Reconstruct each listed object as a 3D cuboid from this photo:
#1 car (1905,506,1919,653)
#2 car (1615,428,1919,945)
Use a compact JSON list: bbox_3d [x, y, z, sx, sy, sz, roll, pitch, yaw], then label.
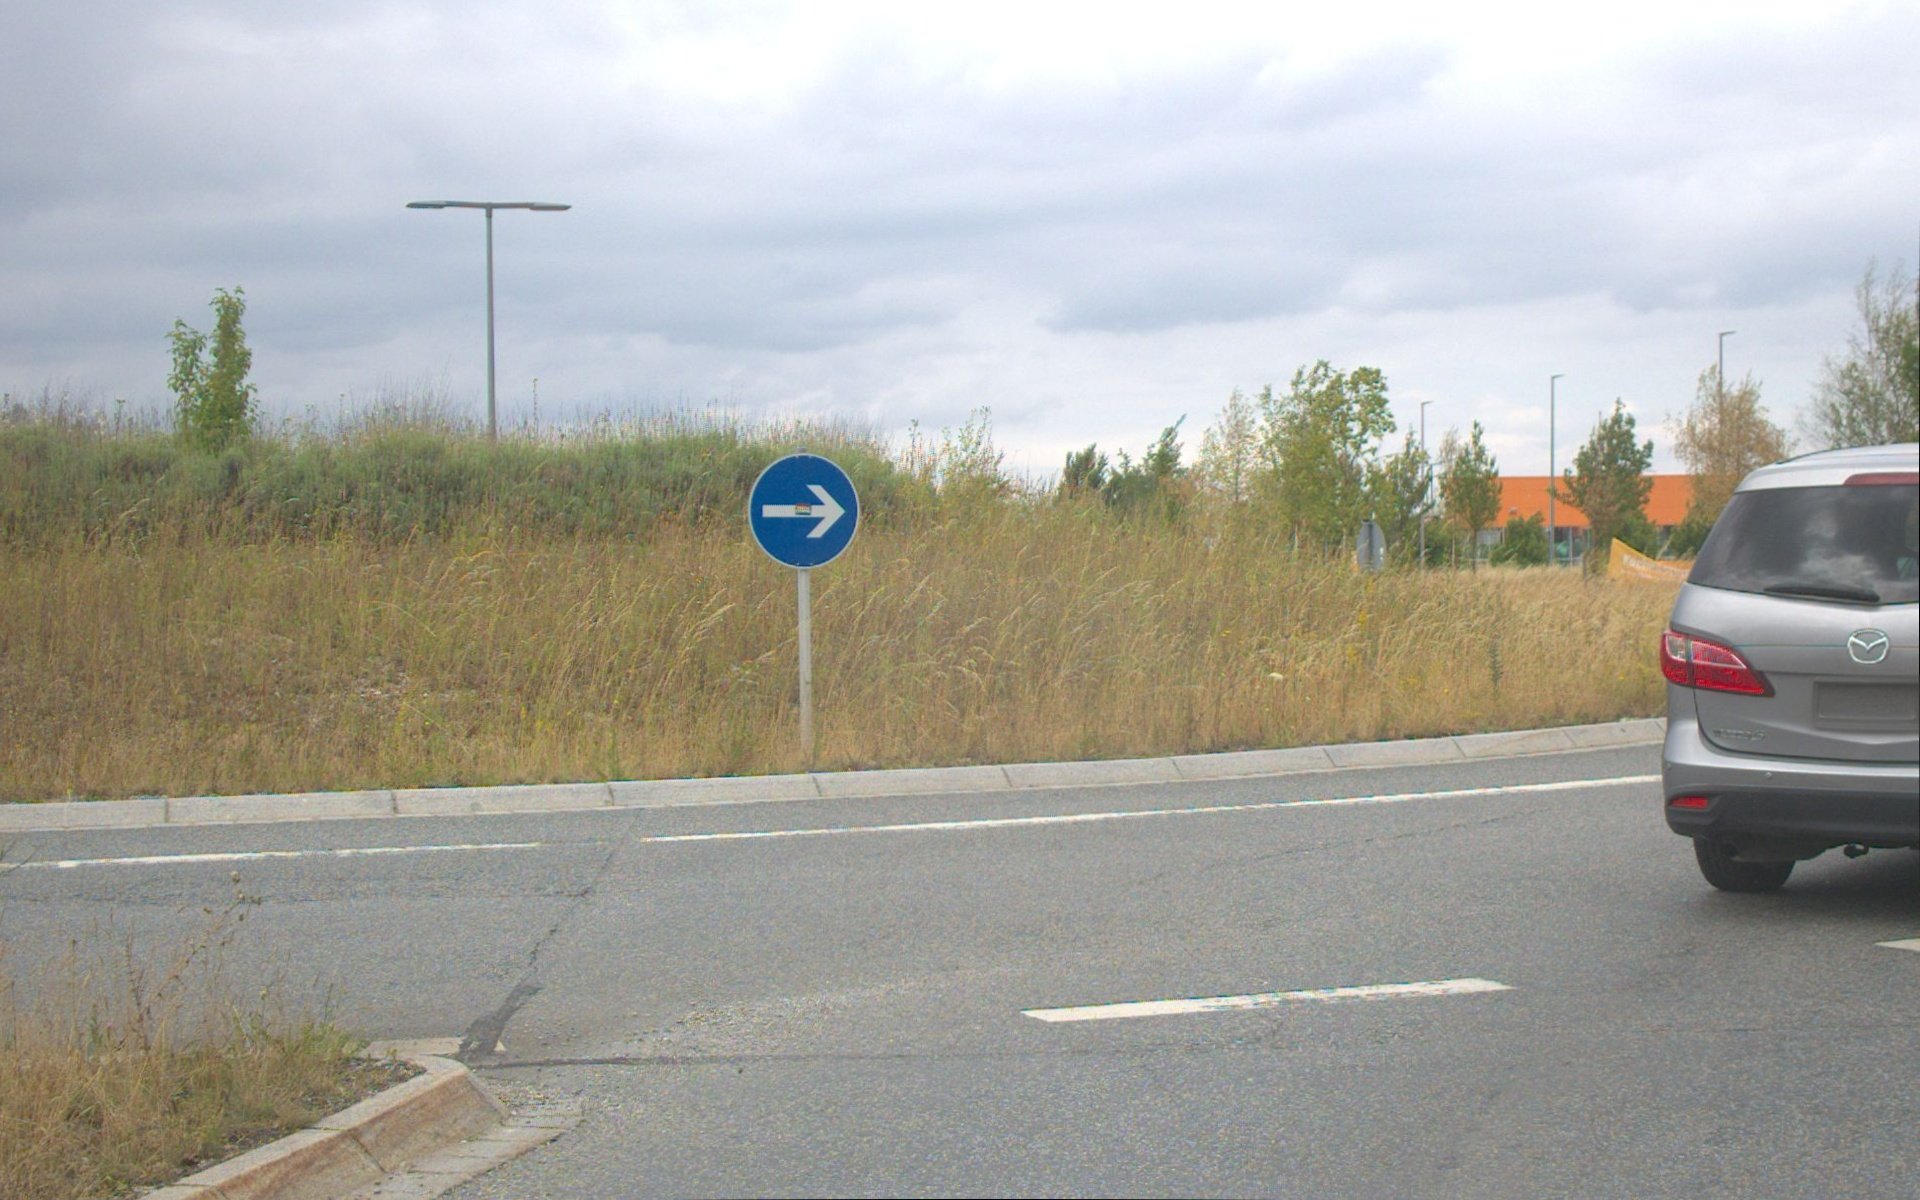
[{"bbox_3d":[10.141,-0.127,31.200,1.737,1.399,3.999,0,3,-5],"label":"car"},{"bbox_3d":[4.001,0.187,12.644,1.741,1.593,3.991,2,4,33],"label":"car"}]
